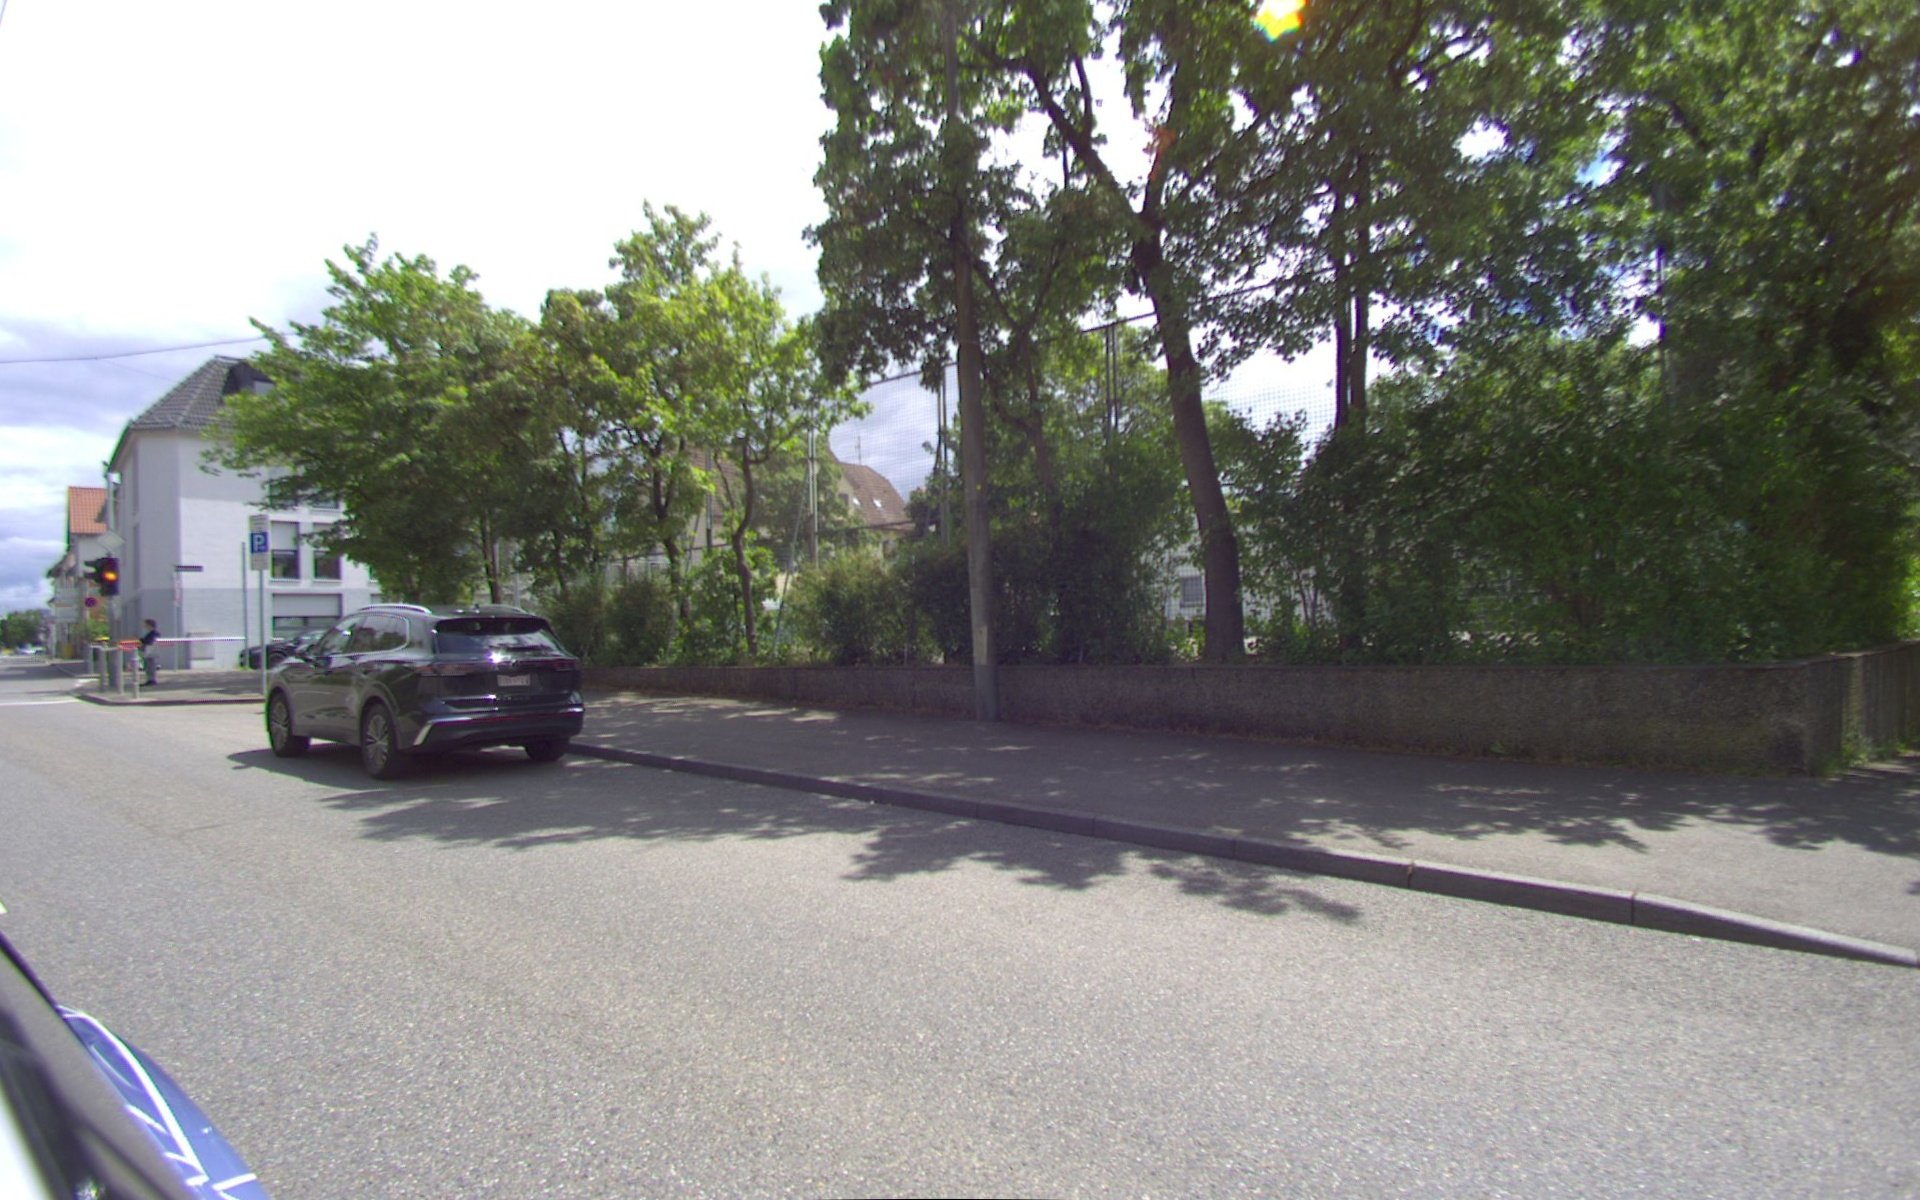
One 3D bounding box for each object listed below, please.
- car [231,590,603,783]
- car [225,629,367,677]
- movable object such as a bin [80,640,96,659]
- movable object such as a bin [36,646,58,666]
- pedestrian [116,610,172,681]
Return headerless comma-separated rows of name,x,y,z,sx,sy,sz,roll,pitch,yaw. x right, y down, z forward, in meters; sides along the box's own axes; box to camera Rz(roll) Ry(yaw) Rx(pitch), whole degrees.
car,-5.887,0.809,10.716,4.640,1.622,1.778,-3,-1,39
car,-24.202,1.924,36.991,1.857,1.488,3.946,-5,-3,40
movable object such as a bin,-50.414,2.872,58.516,0.660,1.083,0.633,-3,-1,43
movable object such as a bin,-63.644,3.900,70.525,0.801,1.167,0.759,7,20,36
pedestrian,-19.278,1.060,23.921,0.663,1.609,0.772,-2,0,5
